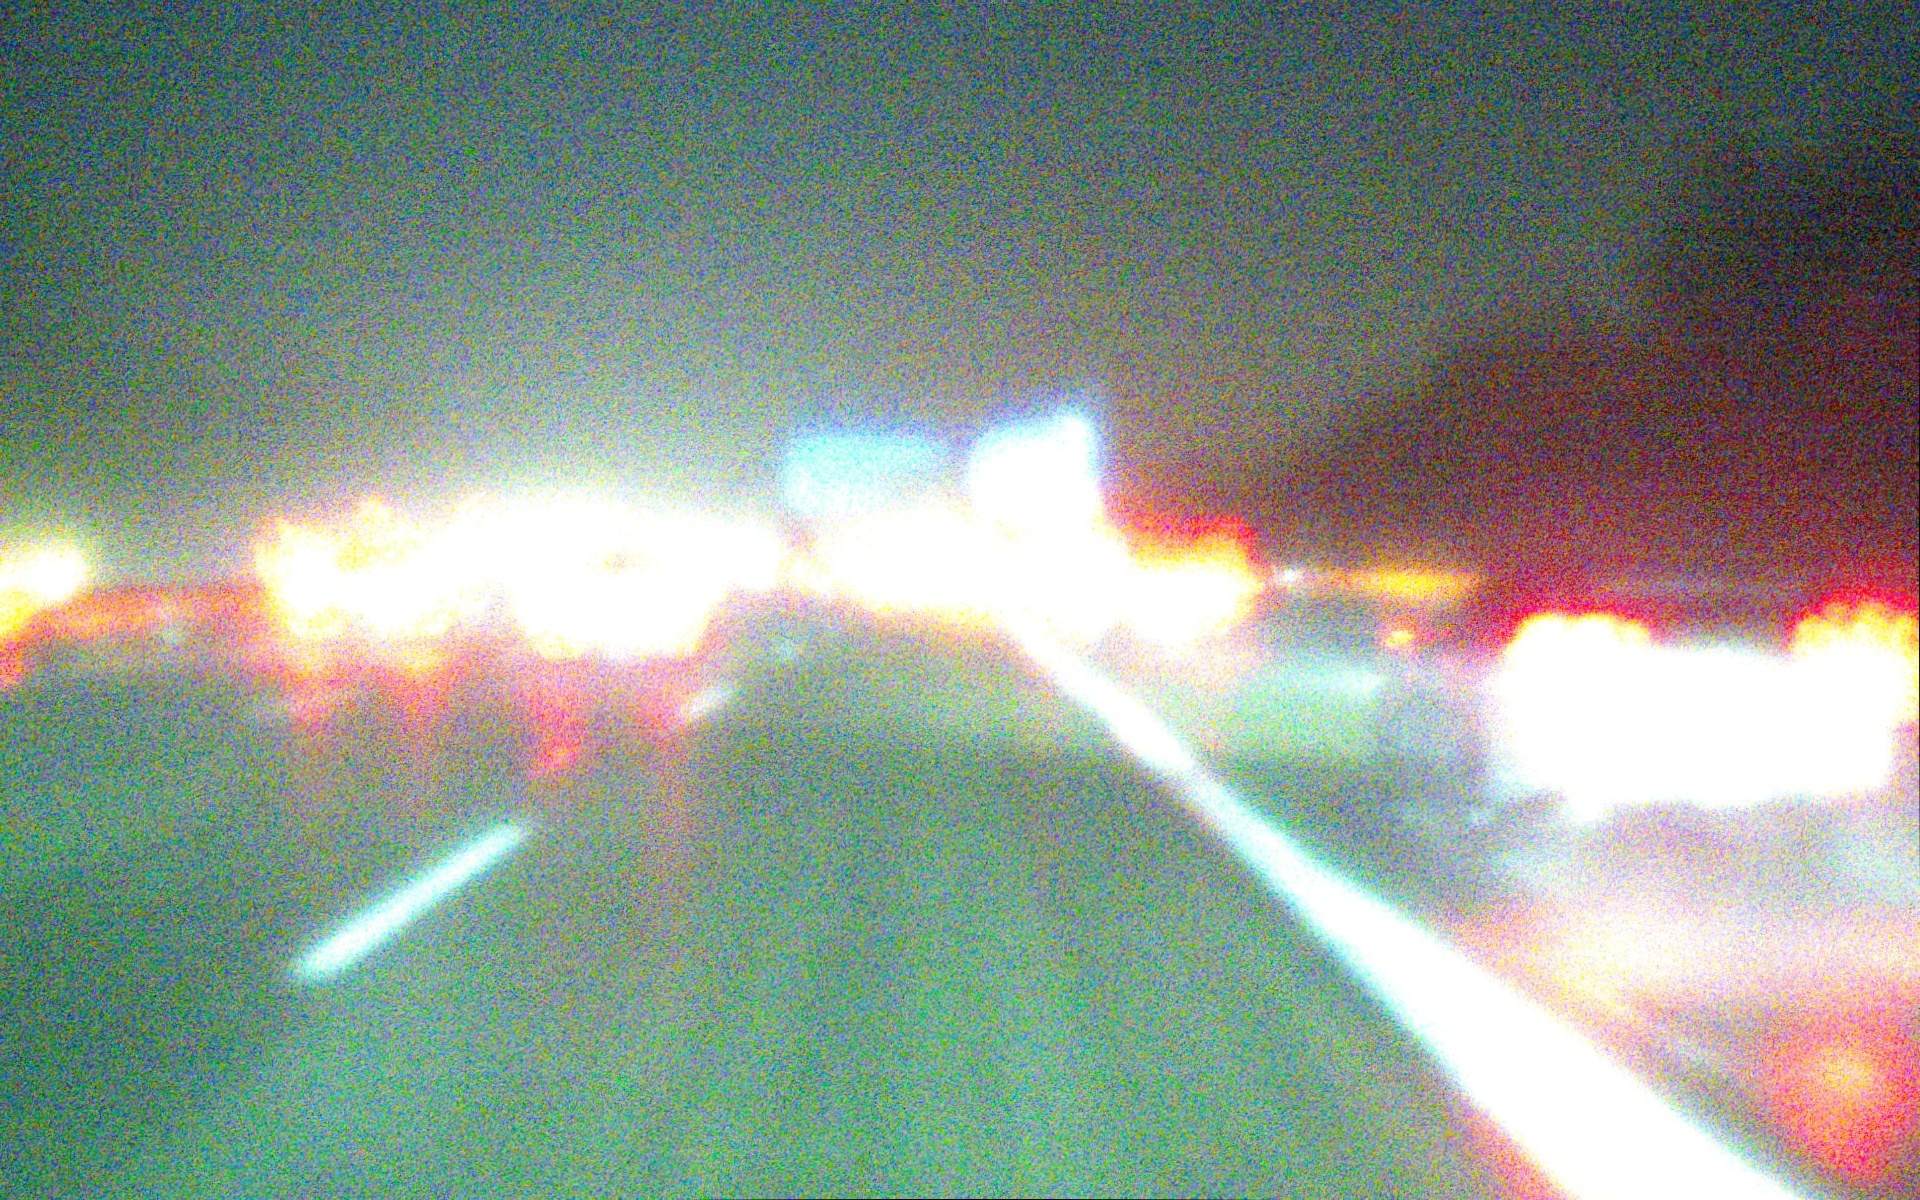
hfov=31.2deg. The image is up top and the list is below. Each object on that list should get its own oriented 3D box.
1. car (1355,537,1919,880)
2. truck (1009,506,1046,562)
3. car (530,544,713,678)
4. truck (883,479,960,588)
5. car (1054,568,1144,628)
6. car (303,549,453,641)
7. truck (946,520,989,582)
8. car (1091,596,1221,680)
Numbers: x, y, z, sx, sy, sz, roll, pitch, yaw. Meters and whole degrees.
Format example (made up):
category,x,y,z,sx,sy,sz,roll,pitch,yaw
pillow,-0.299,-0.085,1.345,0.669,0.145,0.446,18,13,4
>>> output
category,x,y,z,sx,sy,sz,roll,pitch,yaw
car,3.461,0.440,17.833,2.057,1.514,5.016,0,1,-2
truck,3.984,-3.868,203.504,1.993,3.032,6.464,-3,0,1
car,-3.974,0.091,40.916,1.802,1.482,4.000,0,1,0
truck,-1.133,-1.965,104.324,1.993,3.032,6.464,-3,0,1
car,2.954,-0.046,73.504,1.580,1.242,3.069,1,0,-4
car,-8.597,-0.060,51.062,1.662,1.232,3.761,-3,0,-2
truck,0.426,-2.537,179.508,1.993,3.032,6.464,-3,0,1
car,2.976,0.564,52.664,1.580,1.242,3.069,1,0,-4
